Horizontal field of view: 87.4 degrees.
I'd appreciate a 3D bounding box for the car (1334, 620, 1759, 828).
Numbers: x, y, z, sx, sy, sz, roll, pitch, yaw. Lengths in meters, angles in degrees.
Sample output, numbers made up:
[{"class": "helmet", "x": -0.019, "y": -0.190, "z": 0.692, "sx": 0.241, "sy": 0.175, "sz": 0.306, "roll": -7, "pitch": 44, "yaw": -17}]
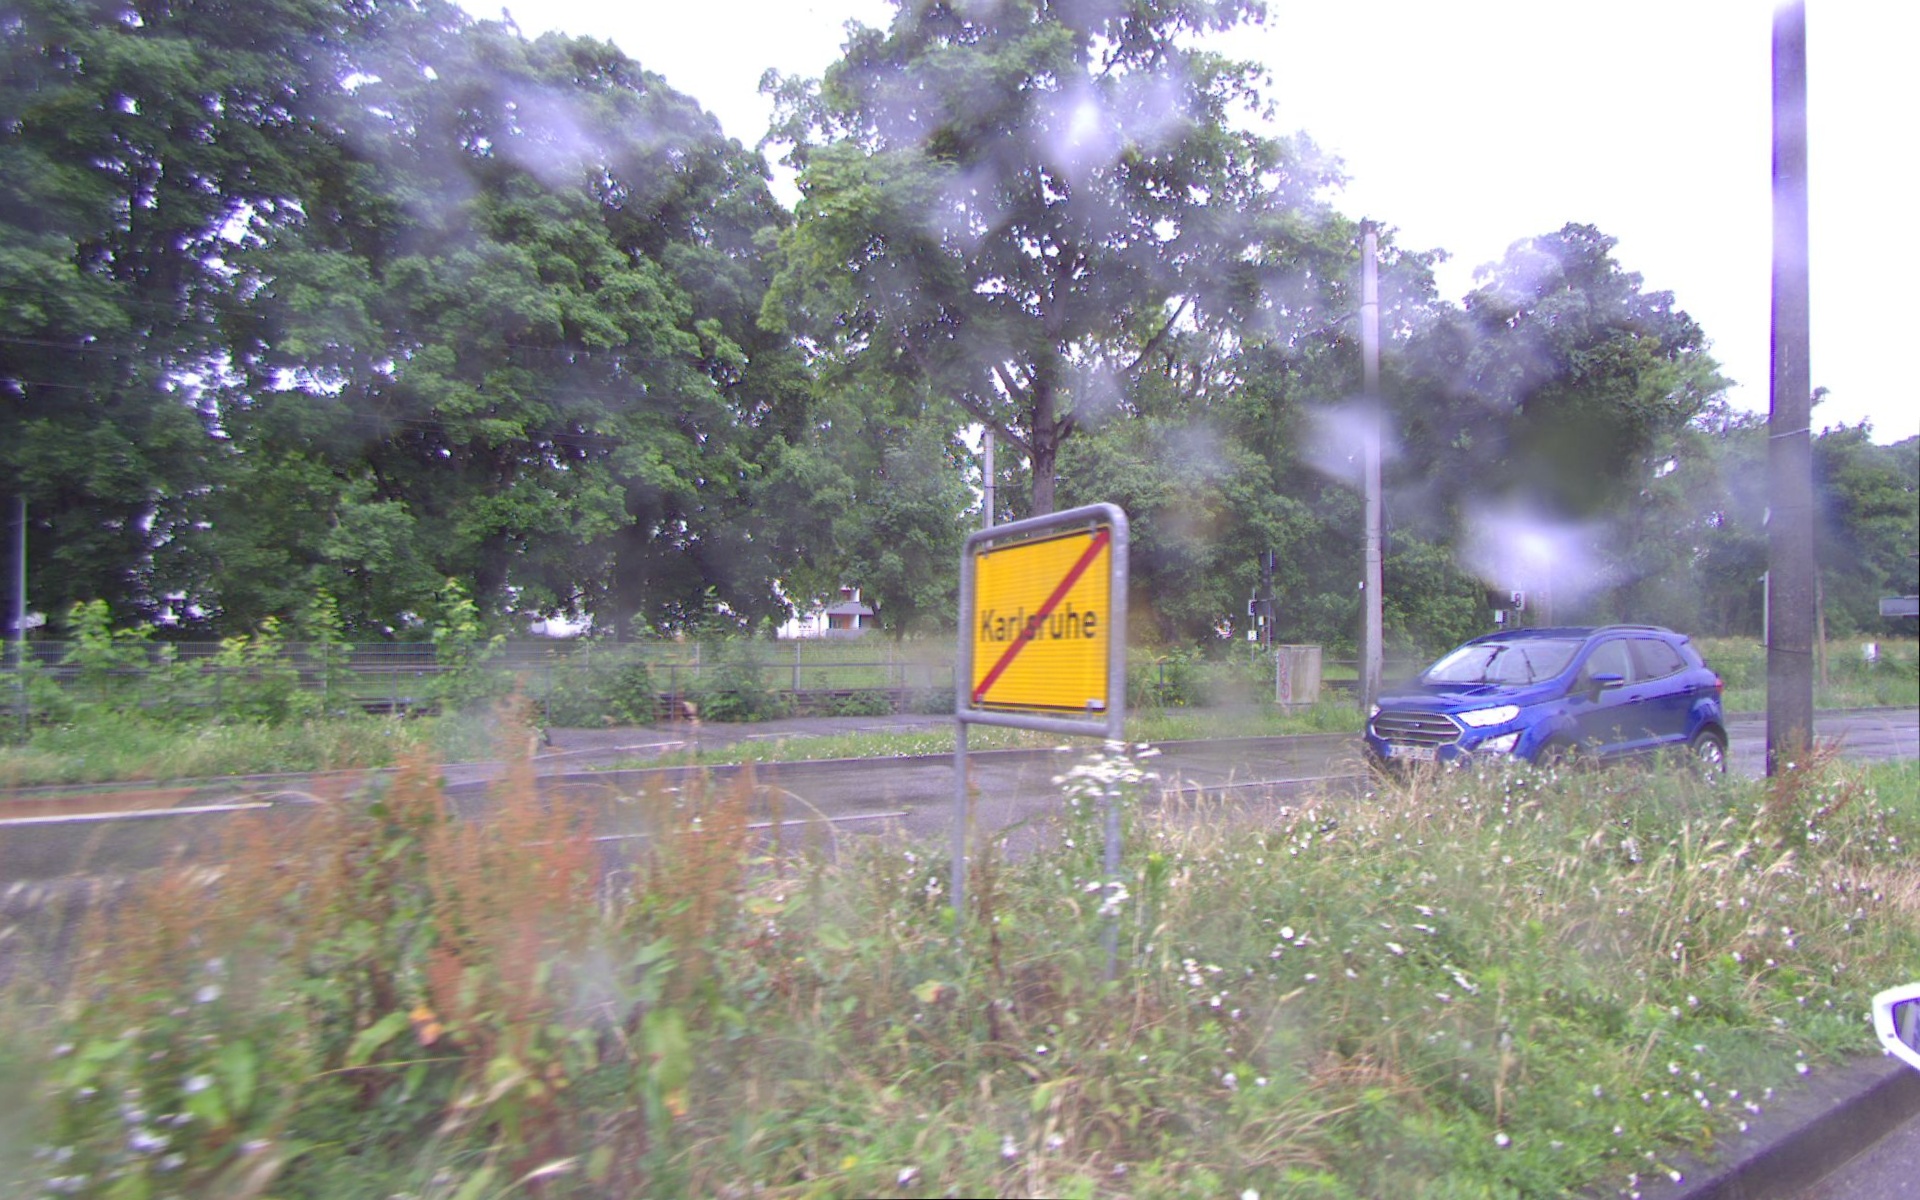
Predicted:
[{"class": "car", "x": 5.806, "y": 1.092, "z": 9.875, "sx": 4.086, "sy": 1.671, "sz": 1.737, "roll": 1, "pitch": -4, "yaw": -29}]
